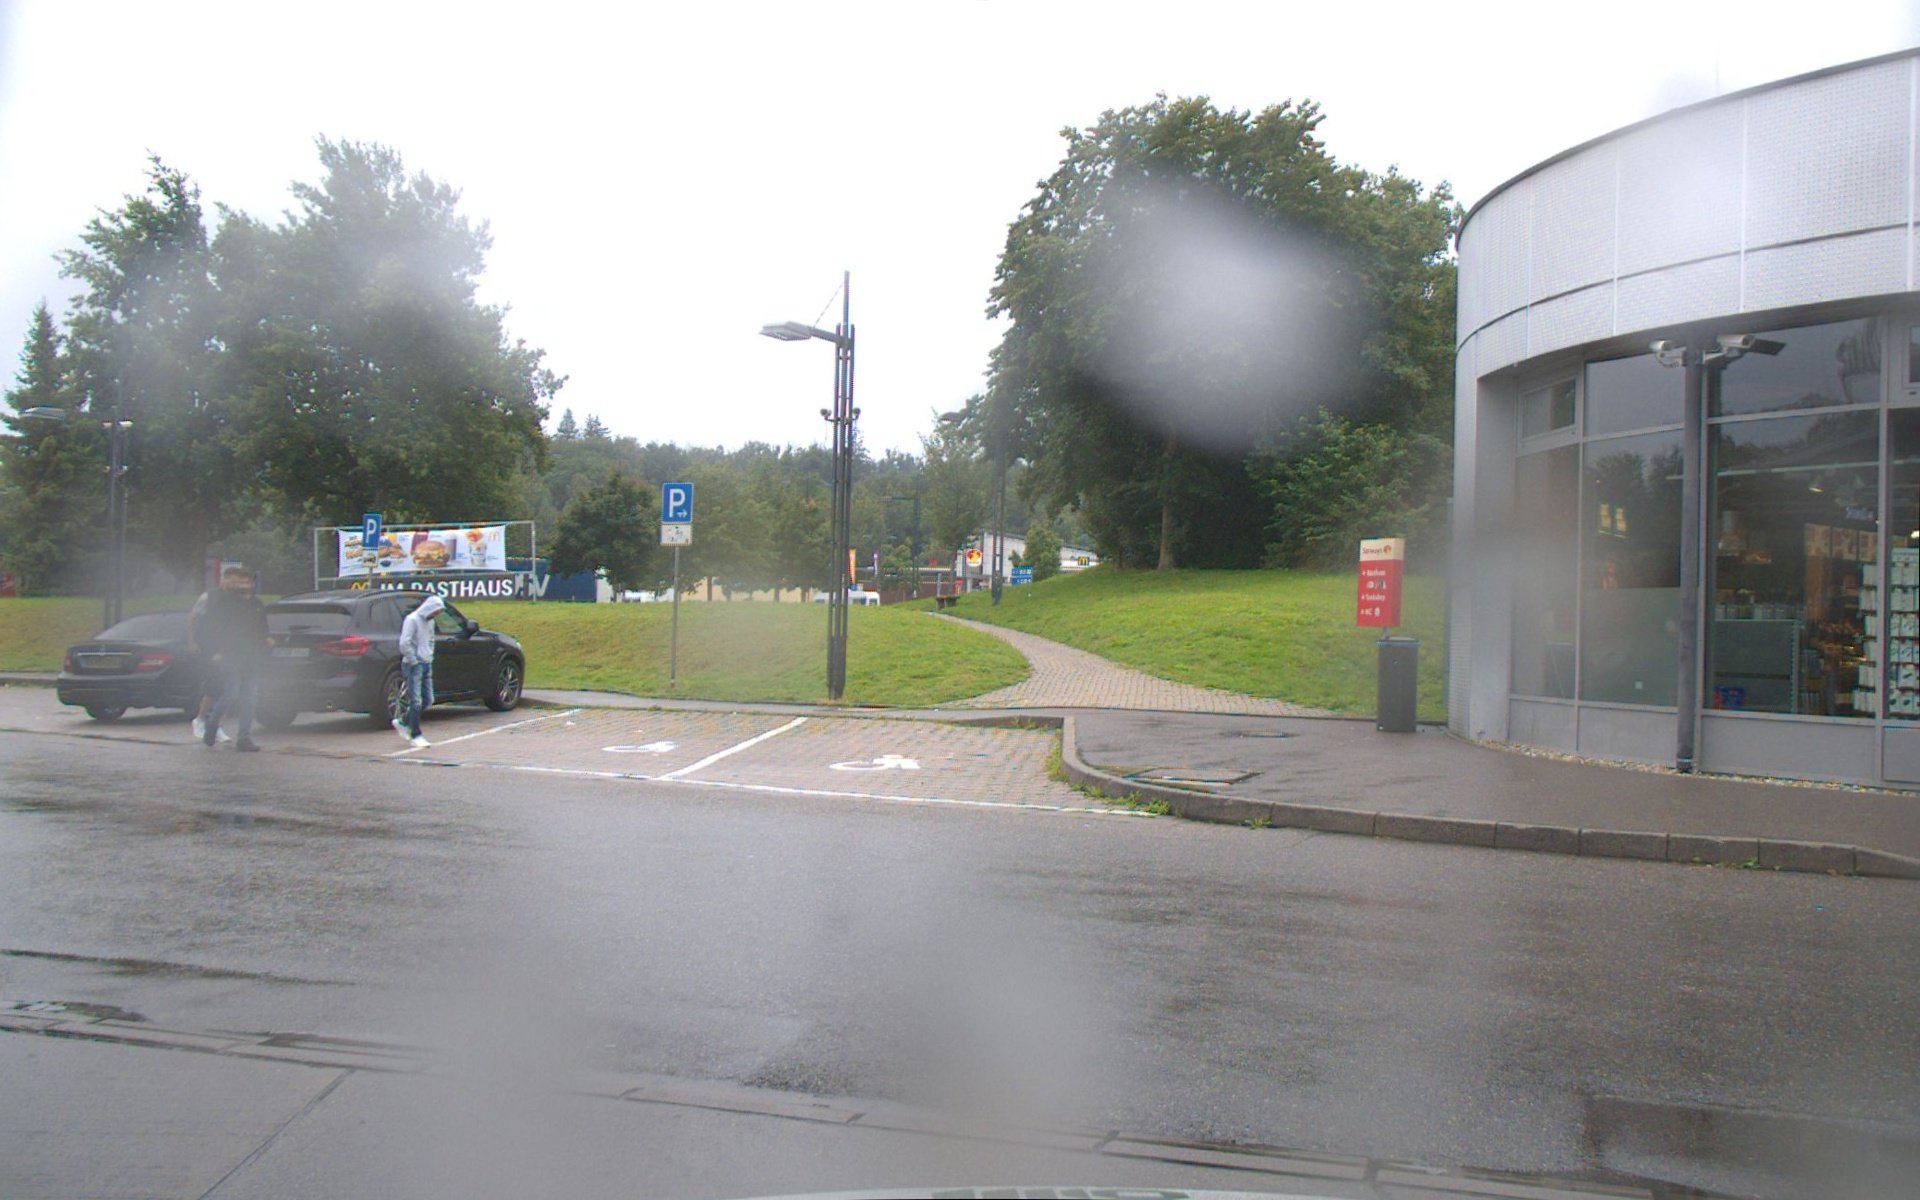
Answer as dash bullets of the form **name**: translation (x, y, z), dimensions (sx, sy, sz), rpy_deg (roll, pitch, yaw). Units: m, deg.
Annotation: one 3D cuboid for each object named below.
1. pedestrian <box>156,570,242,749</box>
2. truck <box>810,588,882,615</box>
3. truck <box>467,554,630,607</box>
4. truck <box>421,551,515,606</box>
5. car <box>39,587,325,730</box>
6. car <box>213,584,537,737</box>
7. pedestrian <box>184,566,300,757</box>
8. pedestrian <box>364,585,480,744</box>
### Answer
- **pedestrian**: translation (-8.443, 0.639, 18.336), dimensions (0.695, 1.920, 0.943), rpy_deg (1, -1, -34)
- **truck**: translation (-9.246, 0.135, 133.664), dimensions (5.298, 2.049, 2.366), rpy_deg (1, 0, 24)
- **truck**: translation (-24.940, -1.092, 101.265), dimensions (2.142, 2.971, 13.093), rpy_deg (1, 0, 23)
- **truck**: translation (-27.990, -1.176, 94.250), dimensions (2.142, 2.971, 5.384), rpy_deg (1, 0, 24)
- **car**: translation (-10.578, 0.716, 22.887), dimensions (1.976, 1.741, 4.342), rpy_deg (-1, 1, -2)
- **car**: translation (-7.370, 0.690, 21.369), dimensions (1.973, 1.741, 4.347), rpy_deg (-1, 1, 11)
- **pedestrian**: translation (-7.467, 0.622, 17.209), dimensions (0.874, 1.920, 0.702), rpy_deg (1, -1, 31)
- **pedestrian**: translation (-5.816, 0.678, 17.895), dimensions (0.931, 1.660, 0.704), rpy_deg (1, -1, 20)
